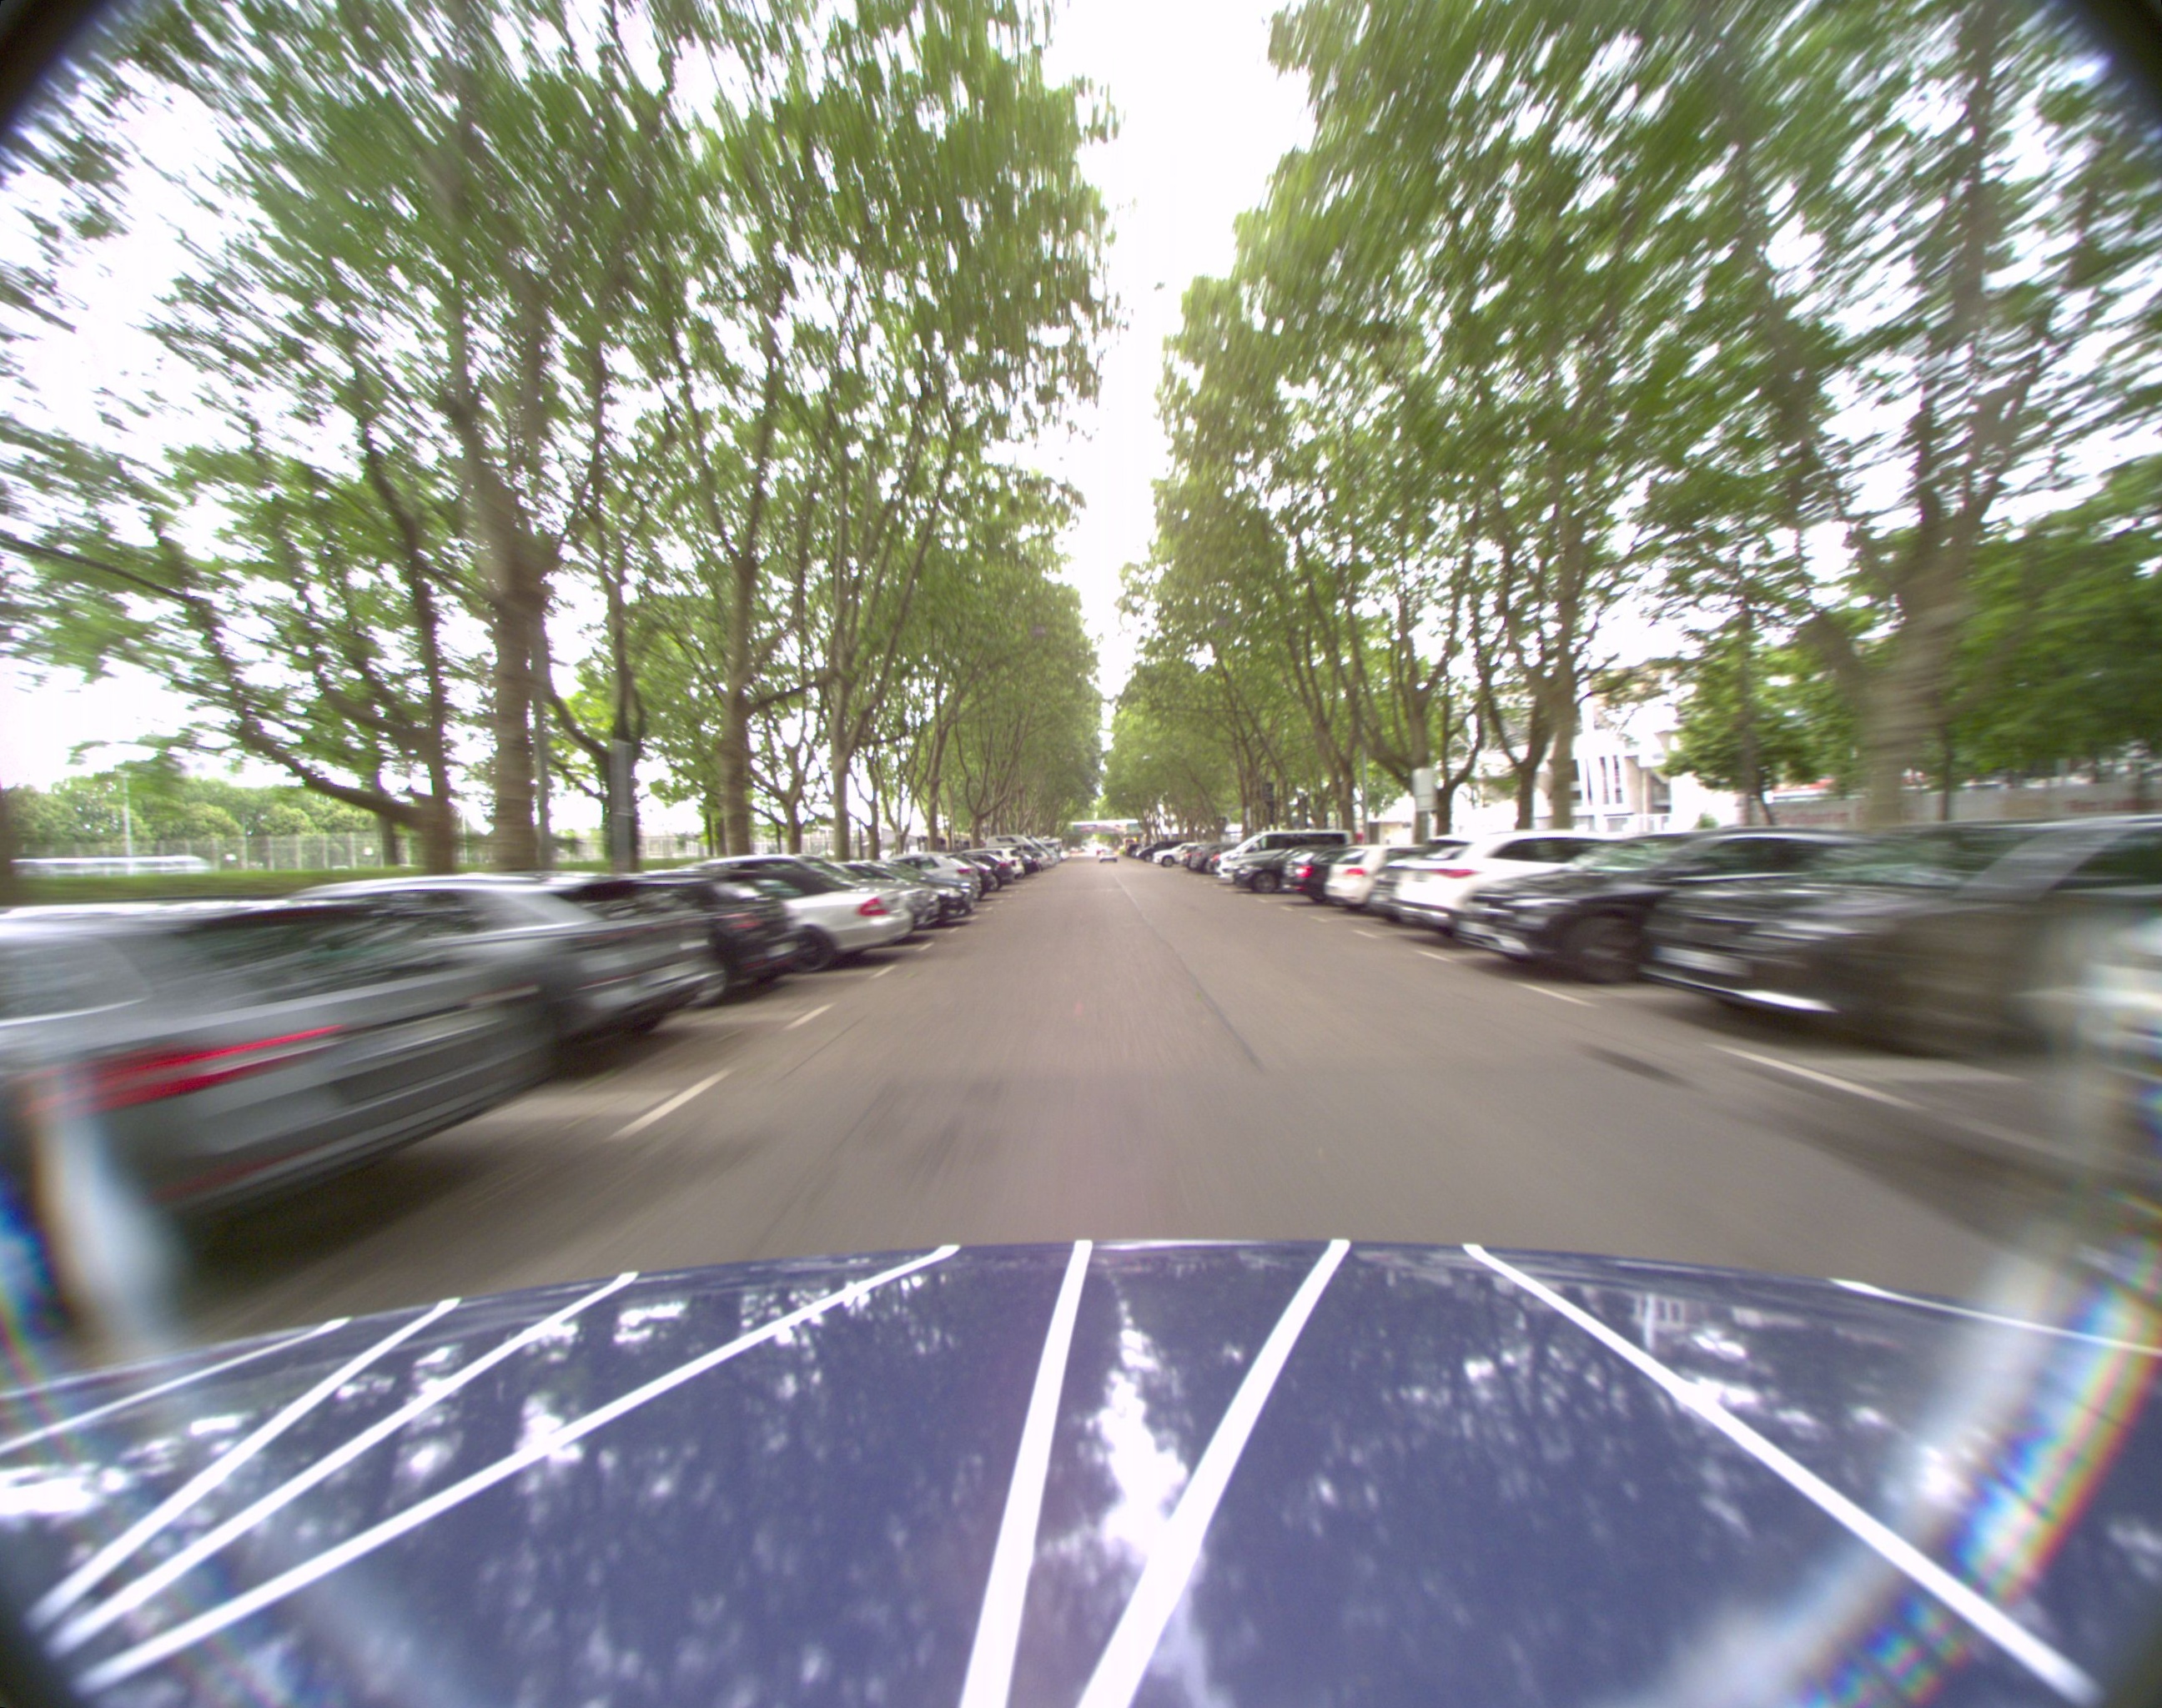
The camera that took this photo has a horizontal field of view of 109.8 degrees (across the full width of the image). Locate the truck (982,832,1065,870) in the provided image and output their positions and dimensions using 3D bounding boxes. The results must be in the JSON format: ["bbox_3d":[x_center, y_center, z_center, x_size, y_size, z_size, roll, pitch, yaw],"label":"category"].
[{"bbox_3d":[-4.537,-0.243,60.994,6.308,2.700,2.097,-3,1,2],"label":"truck"}]

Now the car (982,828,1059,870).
[{"bbox_3d":[-4.397,-0.359,55.853,5.241,2.674,1.957,-4,1,2],"label":"car"}]

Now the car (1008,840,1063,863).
[{"bbox_3d":[-3.834,-0.226,64.648,4.350,1.609,1.803,-4,1,4],"label":"car"}]

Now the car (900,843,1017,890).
[{"bbox_3d":[-4.468,0.438,28.234,3.997,1.477,1.694,-3,1,-1],"label":"car"}]

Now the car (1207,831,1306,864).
[{"bbox_3d":[7.666,-0.286,33.463,3.996,1.405,1.683,0,1,1],"label":"car"}]

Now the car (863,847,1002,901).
[{"bbox_3d":[-4.465,0.583,23.207,3.837,1.381,1.694,-3,1,-1],"label":"car"}]

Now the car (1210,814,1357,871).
[{"bbox_3d":[7.381,-0.434,28.041,4.907,2.008,1.918,-1,2,-2],"label":"car"}]

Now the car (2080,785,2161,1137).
[{"bbox_3d":[6.946,0.481,2.921,4.054,1.599,1.693,-1,2,-2],"label":"car"}]

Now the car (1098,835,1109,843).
[{"bbox_3d":[4.196,-2.798,142.631,1.658,1.356,4.110,0,1,-3],"label":"car"}]

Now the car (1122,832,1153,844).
[{"bbox_3d":[8.459,-2.448,114.174,4.526,1.609,1.758,-2,1,3],"label":"car"}]

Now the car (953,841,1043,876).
[{"bbox_3d":[-4.371,0.214,40.292,4.514,1.517,1.702,-3,1,-1],"label":"car"}]

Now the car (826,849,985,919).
[{"bbox_3d":[-4.652,0.767,20.540,3.837,1.598,1.694,-3,1,-1],"label":"car"}]

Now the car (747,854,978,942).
[{"bbox_3d":[-4.374,0.862,15.685,4.222,1.443,1.610,-3,1,-1],"label":"car"}]

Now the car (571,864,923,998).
[{"bbox_3d":[-4.528,1.021,10.738,4.123,1.461,1.694,-3,1,1],"label":"car"}]

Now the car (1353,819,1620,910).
[{"bbox_3d":[7.014,0.157,13.405,3.837,1.463,1.694,-1,1,-2],"label":"car"}]

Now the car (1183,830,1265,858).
[{"bbox_3d":[7.557,-0.546,40.364,3.997,1.467,1.842,0,1,-1],"label":"car"}]

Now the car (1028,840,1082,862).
[{"bbox_3d":[-3.567,-0.419,103.979,6.905,2.680,2.125,-3,1,-12],"label":"car"}]

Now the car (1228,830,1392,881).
[{"bbox_3d":[6.802,0.032,22.967,4.458,1.444,1.774,0,2,5],"label":"car"}]

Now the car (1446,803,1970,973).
[{"bbox_3d":[6.395,0.328,8.183,4.077,1.599,1.799,-1,1,3],"label":"car"}]

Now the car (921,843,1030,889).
[{"bbox_3d":[-4.638,0.507,33.807,4.394,1.745,1.801,-3,1,3],"label":"car"}]

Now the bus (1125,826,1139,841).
[{"bbox_3d":[10.977,-4.409,163.194,2.657,3.137,12.368,1,1,2],"label":"bus"}]

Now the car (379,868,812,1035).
[{"bbox_3d":[-5.275,1.026,8.593,3.784,1.461,1.623,-3,1,2],"label":"car"}]

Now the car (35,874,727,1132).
[{"bbox_3d":[-5.111,1.035,5.963,3.785,1.461,1.667,-3,1,0],"label":"car"}]

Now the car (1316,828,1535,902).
[{"bbox_3d":[7.114,0.204,15.987,3.765,1.466,1.864,0,1,0],"label":"car"}]

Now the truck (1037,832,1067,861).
[{"bbox_3d":[-3.253,-0.818,83.630,2.466,2.921,7.532,-3,1,-8],"label":"truck"}]

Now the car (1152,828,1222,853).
[{"bbox_3d":[7.077,-0.920,51.117,4.391,1.588,1.999,0,1,-1],"label":"car"}]

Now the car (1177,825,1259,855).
[{"bbox_3d":[7.824,-0.819,43.635,4.352,1.658,1.999,0,1,-1],"label":"car"}]

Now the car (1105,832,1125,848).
[{"bbox_3d":[3.261,-1.359,73.244,1.693,1.463,3.838,-1,1,-1],"label":"car"}]

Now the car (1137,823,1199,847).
[{"bbox_3d":[7.899,-1.681,69.386,5.450,2.115,1.940,0,1,-1],"label":"car"}]

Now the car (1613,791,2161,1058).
[{"bbox_3d":[6.452,0.399,5.577,3.837,1.599,1.833,-1,1,-2],"label":"car"}]

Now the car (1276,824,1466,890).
[{"bbox_3d":[6.923,0.069,18.382,4.005,1.463,1.537,-1,1,1],"label":"car"}]

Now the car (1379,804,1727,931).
[{"bbox_3d":[6.619,0.156,10.991,3.837,1.618,1.952,-1,1,-2],"label":"car"}]

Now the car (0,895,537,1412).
[{"bbox_3d":[-5.078,1.081,3.147,4.377,1.461,1.623,-3,1,0],"label":"car"}]

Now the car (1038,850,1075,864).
[{"bbox_3d":[-3.108,0.359,95.709,4.378,1.437,1.609,-4,1,-26],"label":"car"}]

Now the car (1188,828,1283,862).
[{"bbox_3d":[7.694,-0.472,38.158,4.352,1.658,1.999,0,1,-1],"label":"car"}]

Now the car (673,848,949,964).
[{"bbox_3d":[-4.579,0.858,13.310,4.123,1.660,1.694,-3,1,1],"label":"car"}]

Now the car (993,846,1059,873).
[{"bbox_3d":[-3.616,0.344,50.541,4.129,1.421,1.703,-5,2,3],"label":"car"}]

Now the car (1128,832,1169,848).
[{"bbox_3d":[8.404,-1.739,94.361,4.917,1.913,2.208,-1,1,2],"label":"car"}]

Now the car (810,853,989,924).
[{"bbox_3d":[-4.403,0.834,18.667,3.833,1.447,1.695,-3,1,12],"label":"car"}]
